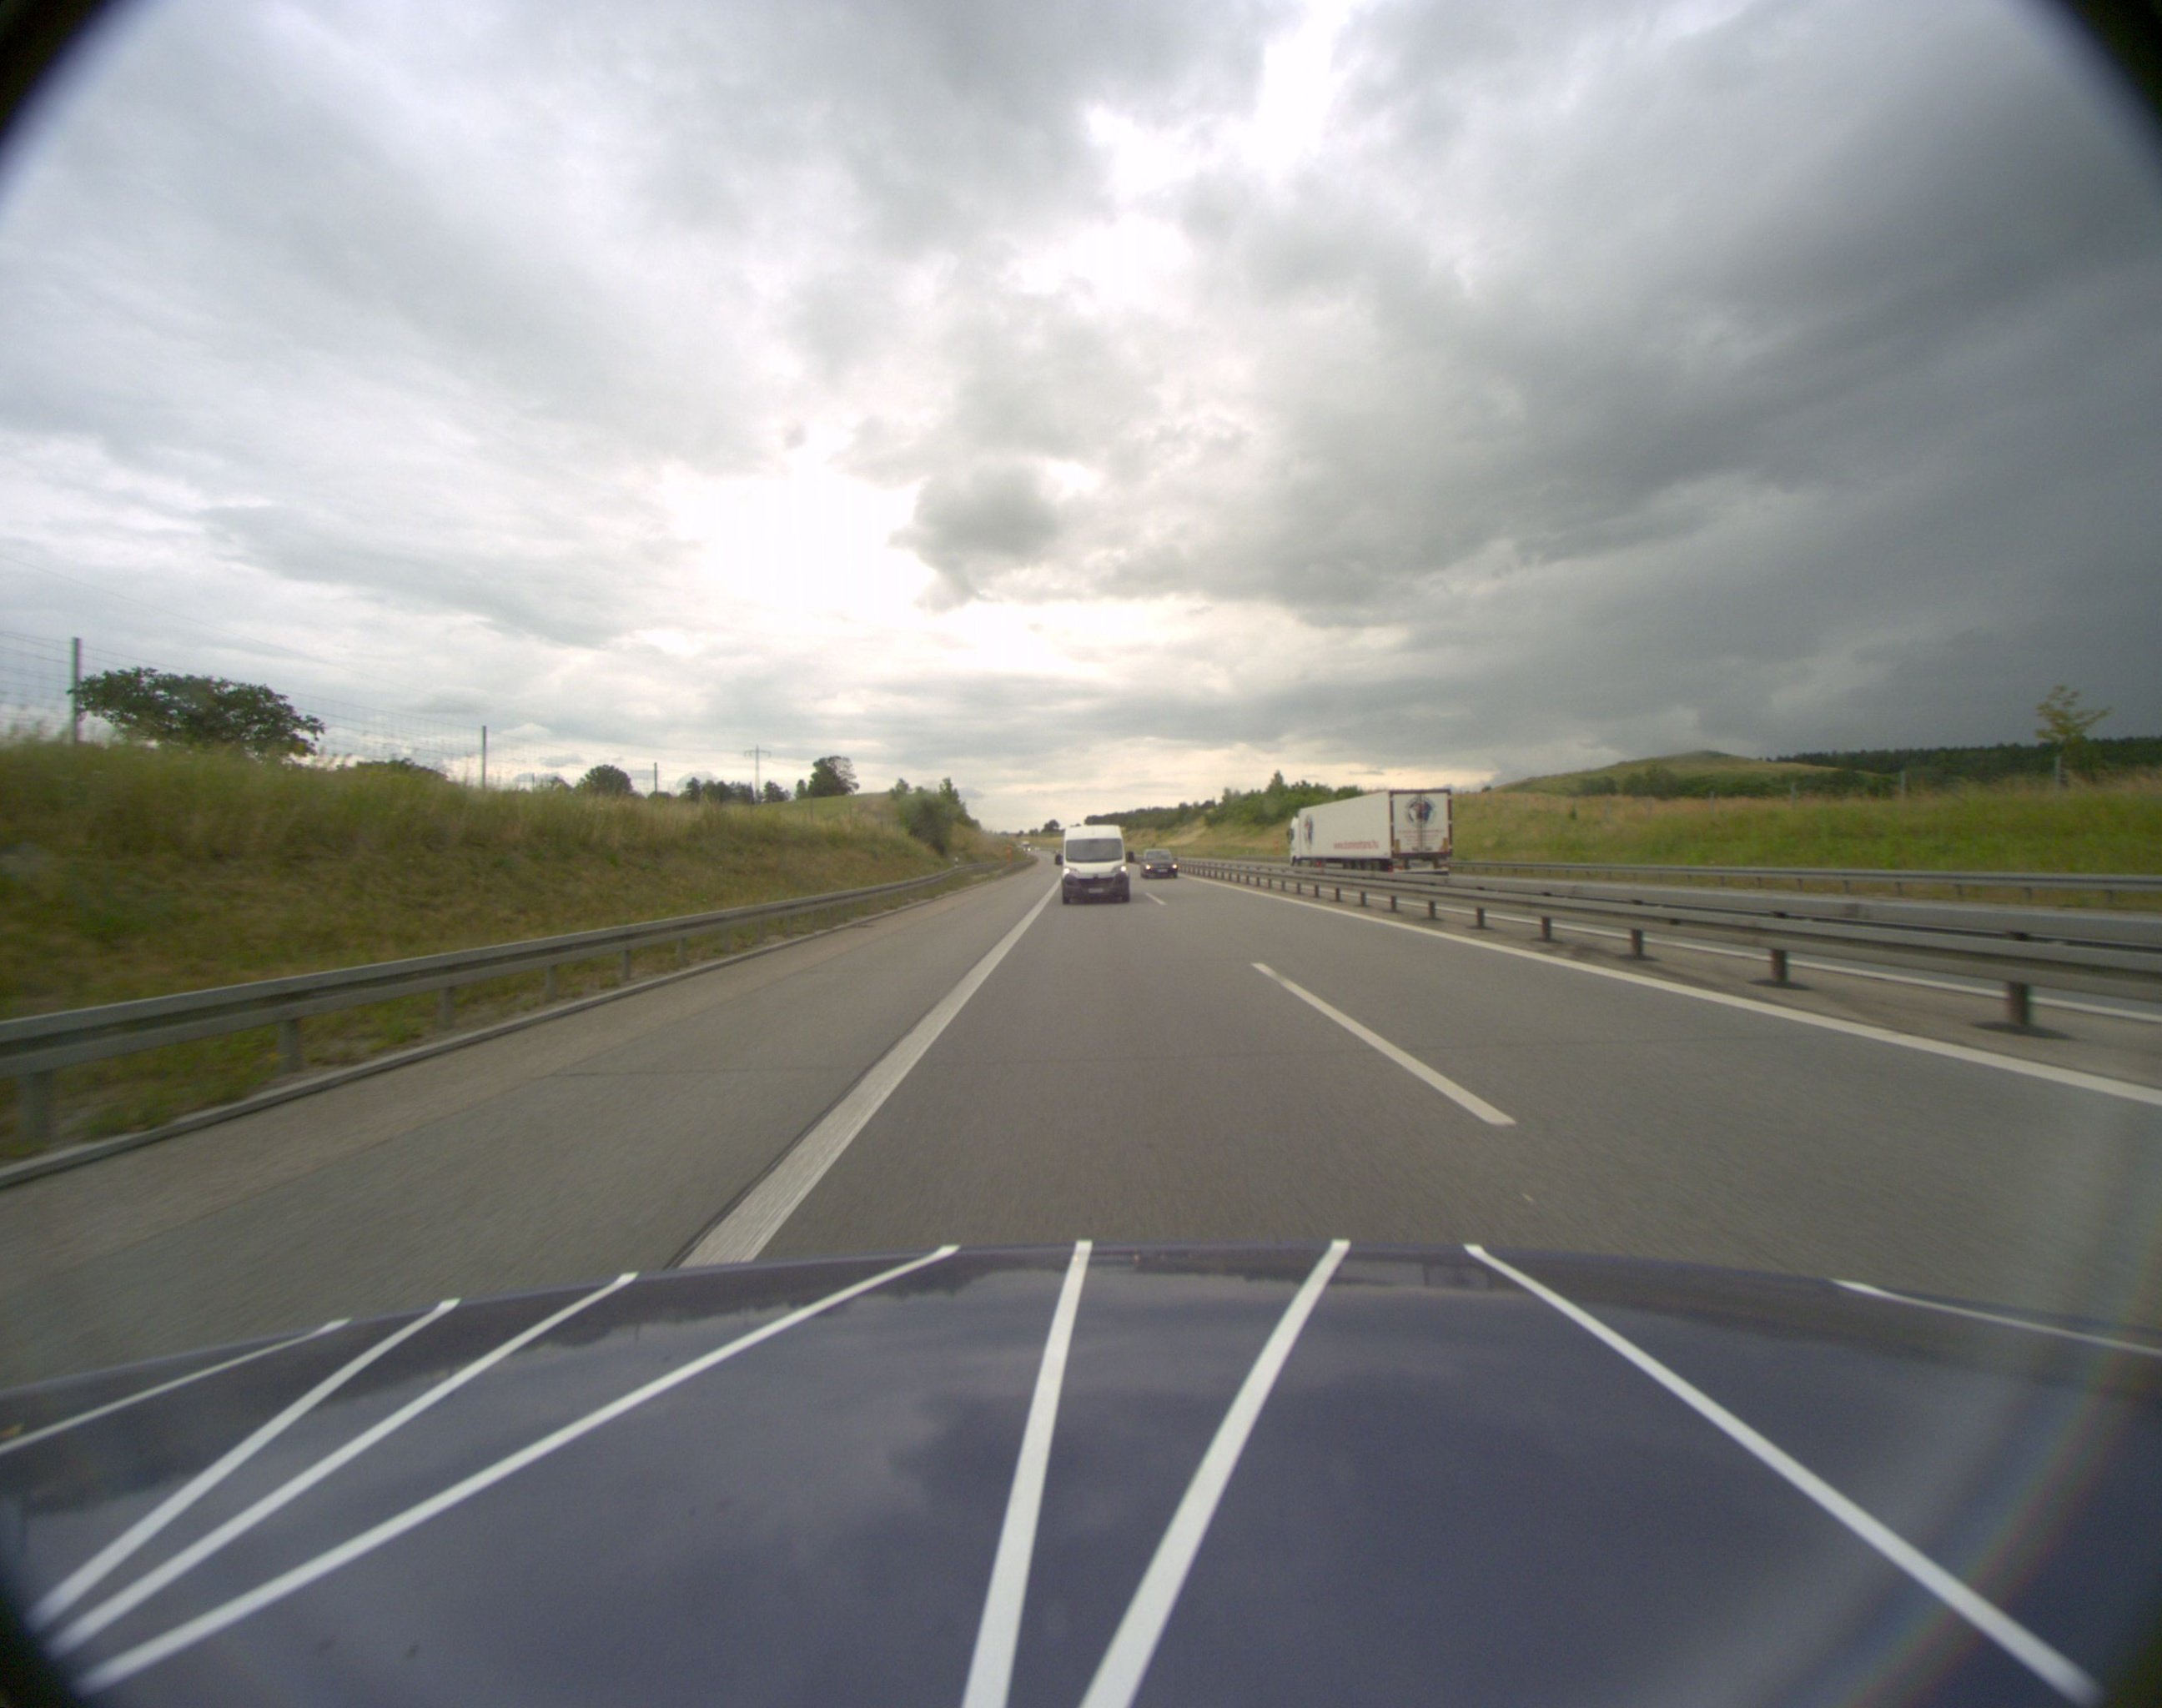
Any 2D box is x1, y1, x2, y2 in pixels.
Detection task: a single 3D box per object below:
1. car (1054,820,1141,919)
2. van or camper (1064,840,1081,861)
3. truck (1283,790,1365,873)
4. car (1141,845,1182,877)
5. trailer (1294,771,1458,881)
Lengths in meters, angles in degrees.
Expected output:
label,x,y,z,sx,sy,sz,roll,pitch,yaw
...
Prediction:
label,x,y,z,sx,sy,sz,roll,pitch,yaw
car,0.389,0.343,21.917,2.132,2.412,6.110,-1,1,0
van or camper,-1.208,-0.518,102.942,2.104,2.722,6.899,-2,1,-2
truck,14.625,-1.270,46.329,2.802,4.620,6.919,-1,1,0
car,4.485,0.348,43.167,1.901,1.661,5.396,-1,1,2
trailer,14.580,-1.229,39.568,2.802,4.623,14.845,-1,0,0
